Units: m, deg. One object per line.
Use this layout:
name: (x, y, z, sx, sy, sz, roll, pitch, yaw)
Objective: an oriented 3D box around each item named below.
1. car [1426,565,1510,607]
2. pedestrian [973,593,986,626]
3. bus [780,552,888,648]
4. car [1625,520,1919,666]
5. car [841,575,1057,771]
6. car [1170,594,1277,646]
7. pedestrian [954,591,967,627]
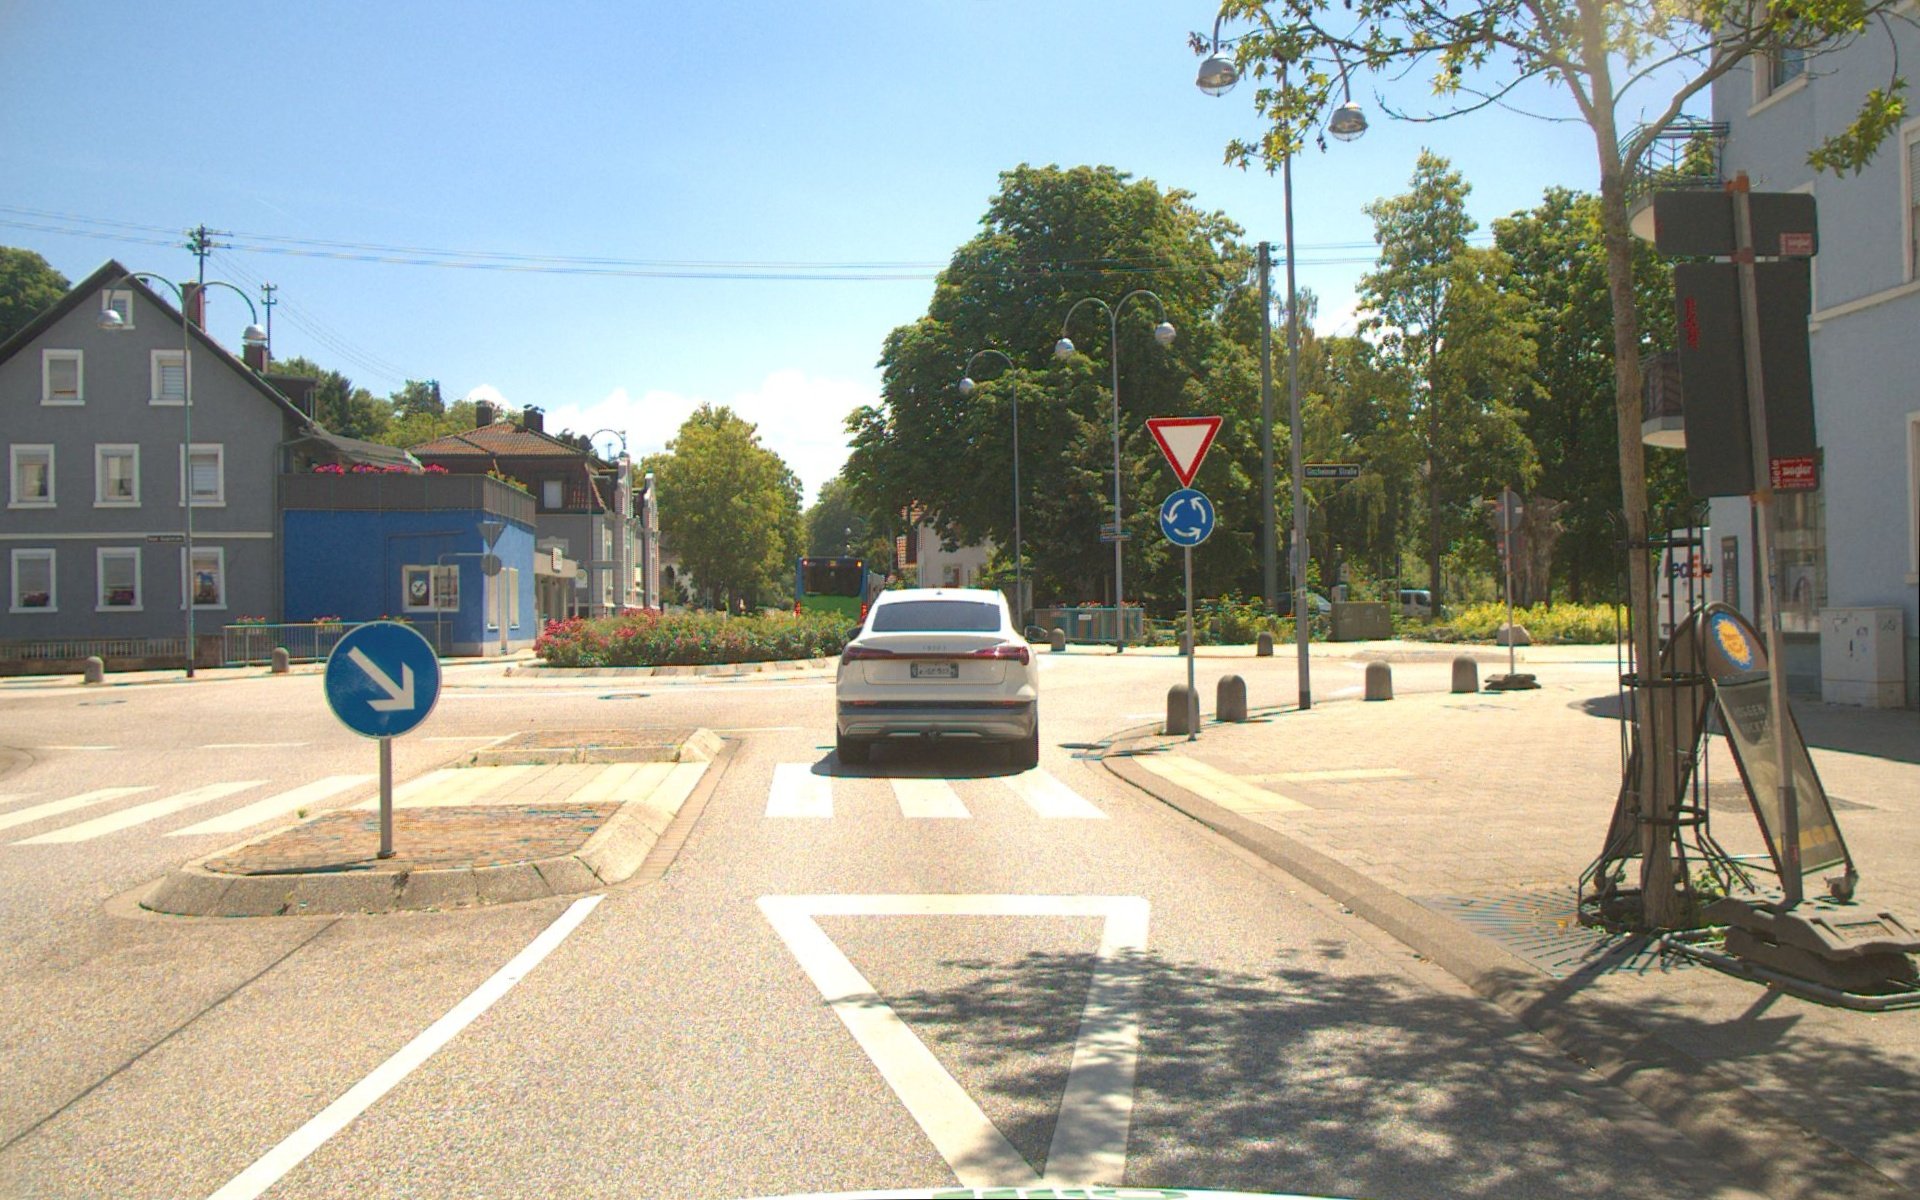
car: (25.908, -0.704, 84.328, 3.905, 2.049, 2.000, -1, 0, 22)
pedestrian: (0.931, 0.445, 78.970, 0.480, 1.548, 0.541, -1, 0, -10)
bus: (-4.704, 0.093, 65.519, 3.632, 3.227, 18.058, 1, -1, -3)
car: (15.353, -0.155, 30.845, 5.378, 2.524, 1.991, -1, 0, -17)
car: (-0.223, 0.630, 16.547, 1.860, 1.691, 4.406, 0, 0, -4)
car: (8.498, 0.630, 53.336, 3.002, 1.580, 1.626, -1, 0, -18)
pedestrian: (0.021, 0.422, 78.582, 0.493, 1.679, 0.578, -1, 0, -10)
